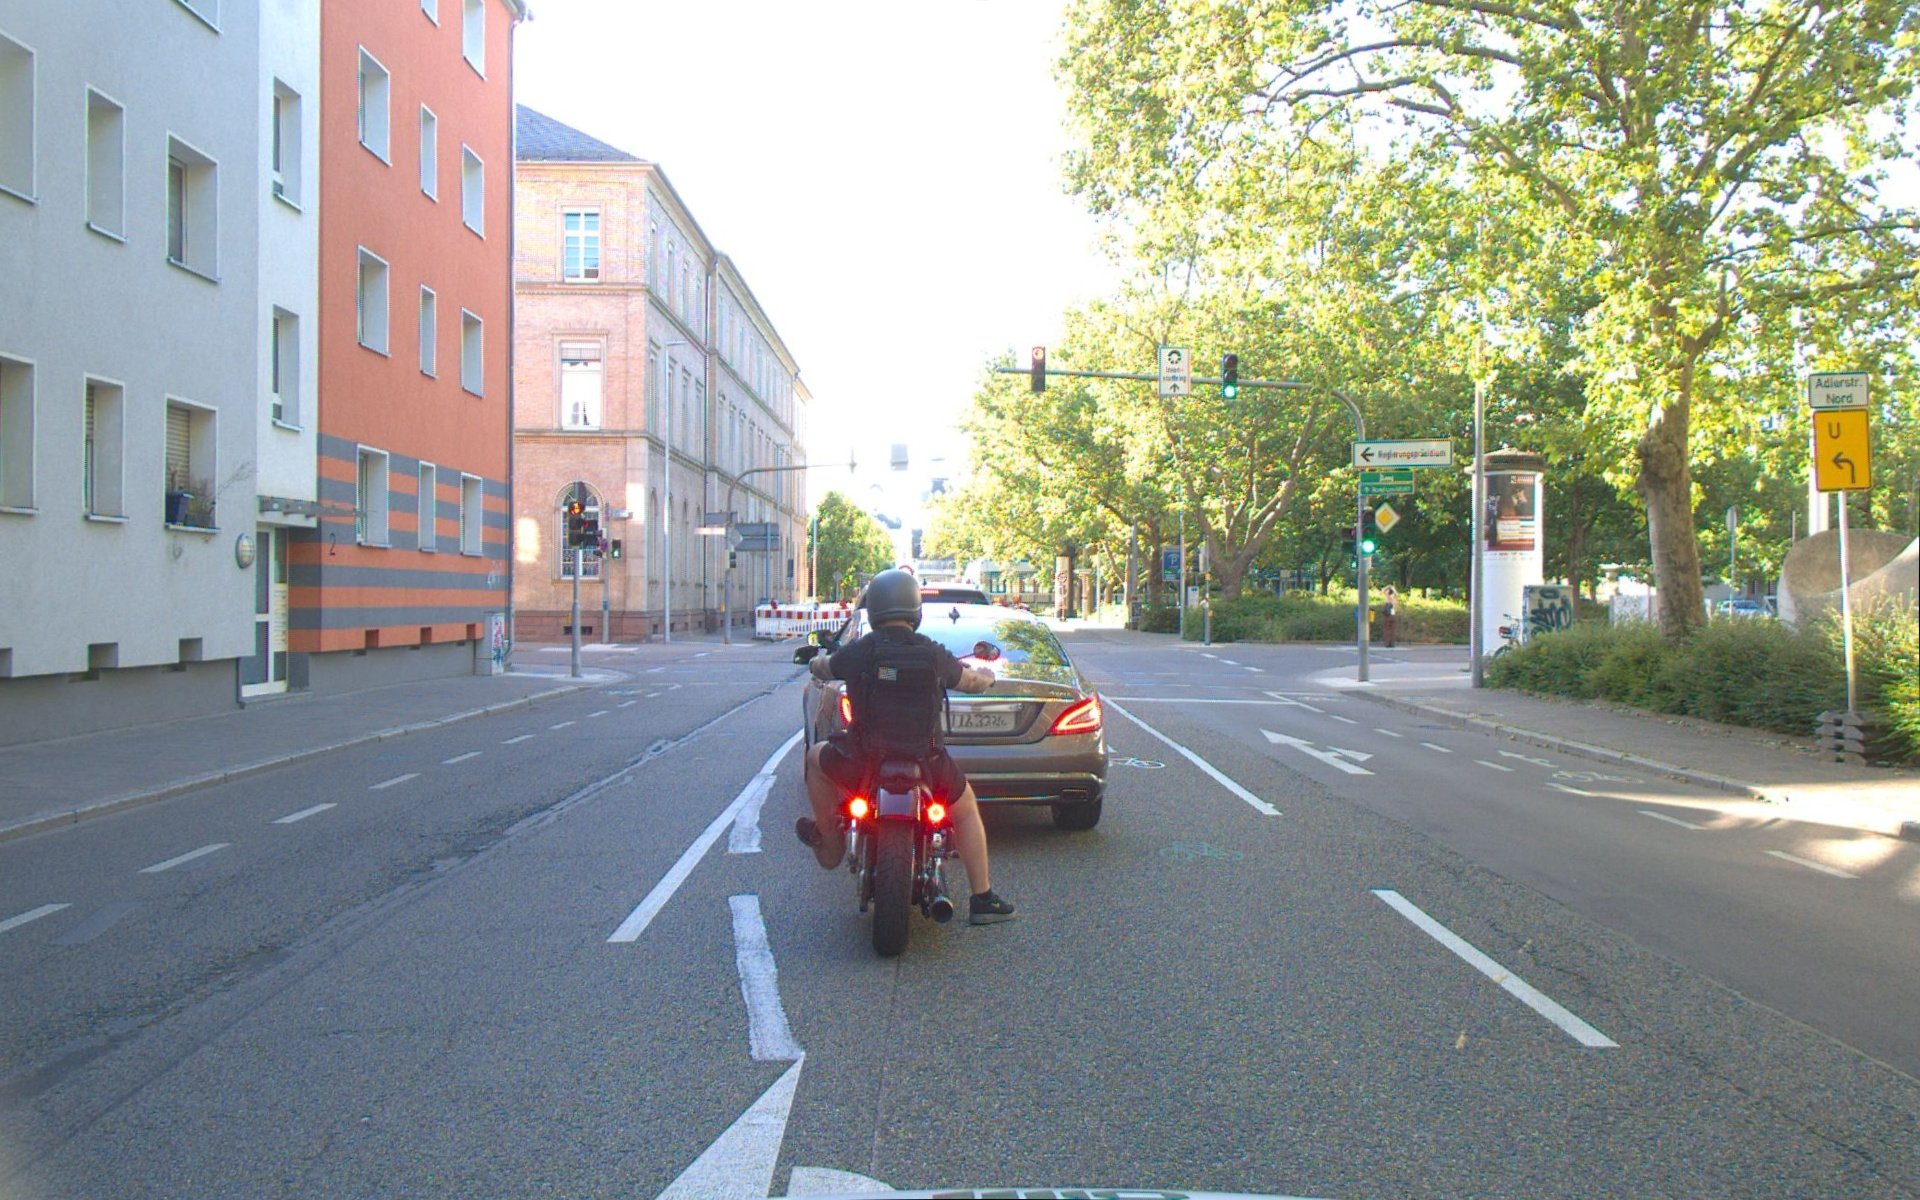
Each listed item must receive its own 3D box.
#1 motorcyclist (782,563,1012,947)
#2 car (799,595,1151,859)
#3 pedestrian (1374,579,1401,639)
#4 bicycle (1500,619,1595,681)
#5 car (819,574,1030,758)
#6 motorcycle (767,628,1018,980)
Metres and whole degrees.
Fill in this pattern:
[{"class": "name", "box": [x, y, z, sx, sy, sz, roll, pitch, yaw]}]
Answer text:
[{"class": "motorcyclist", "box": [-0.271, 0.647, 7.551, 0.961, 1.606, 1.248, 0, 0, -1]}, {"class": "car", "box": [-0.111, 0.708, 11.614, 1.834, 1.469, 4.422, 0, 0, -8]}, {"class": "pedestrian", "box": [13.119, 0.280, 50.761, 0.664, 1.803, 0.616, 1, -1, 29]}, {"class": "bicycle", "box": [9.789, 0.837, 27.591, 1.452, 0.997, 0.299, 1, -1, 5]}, {"class": "car", "box": [-0.360, 0.632, 17.534, 1.953, 1.695, 3.999, 1, 0, -1]}, {"class": "motorcycle", "box": [-0.274, 0.805, 7.552, 0.961, 1.297, 2.407, 0, 0, -1]}]
